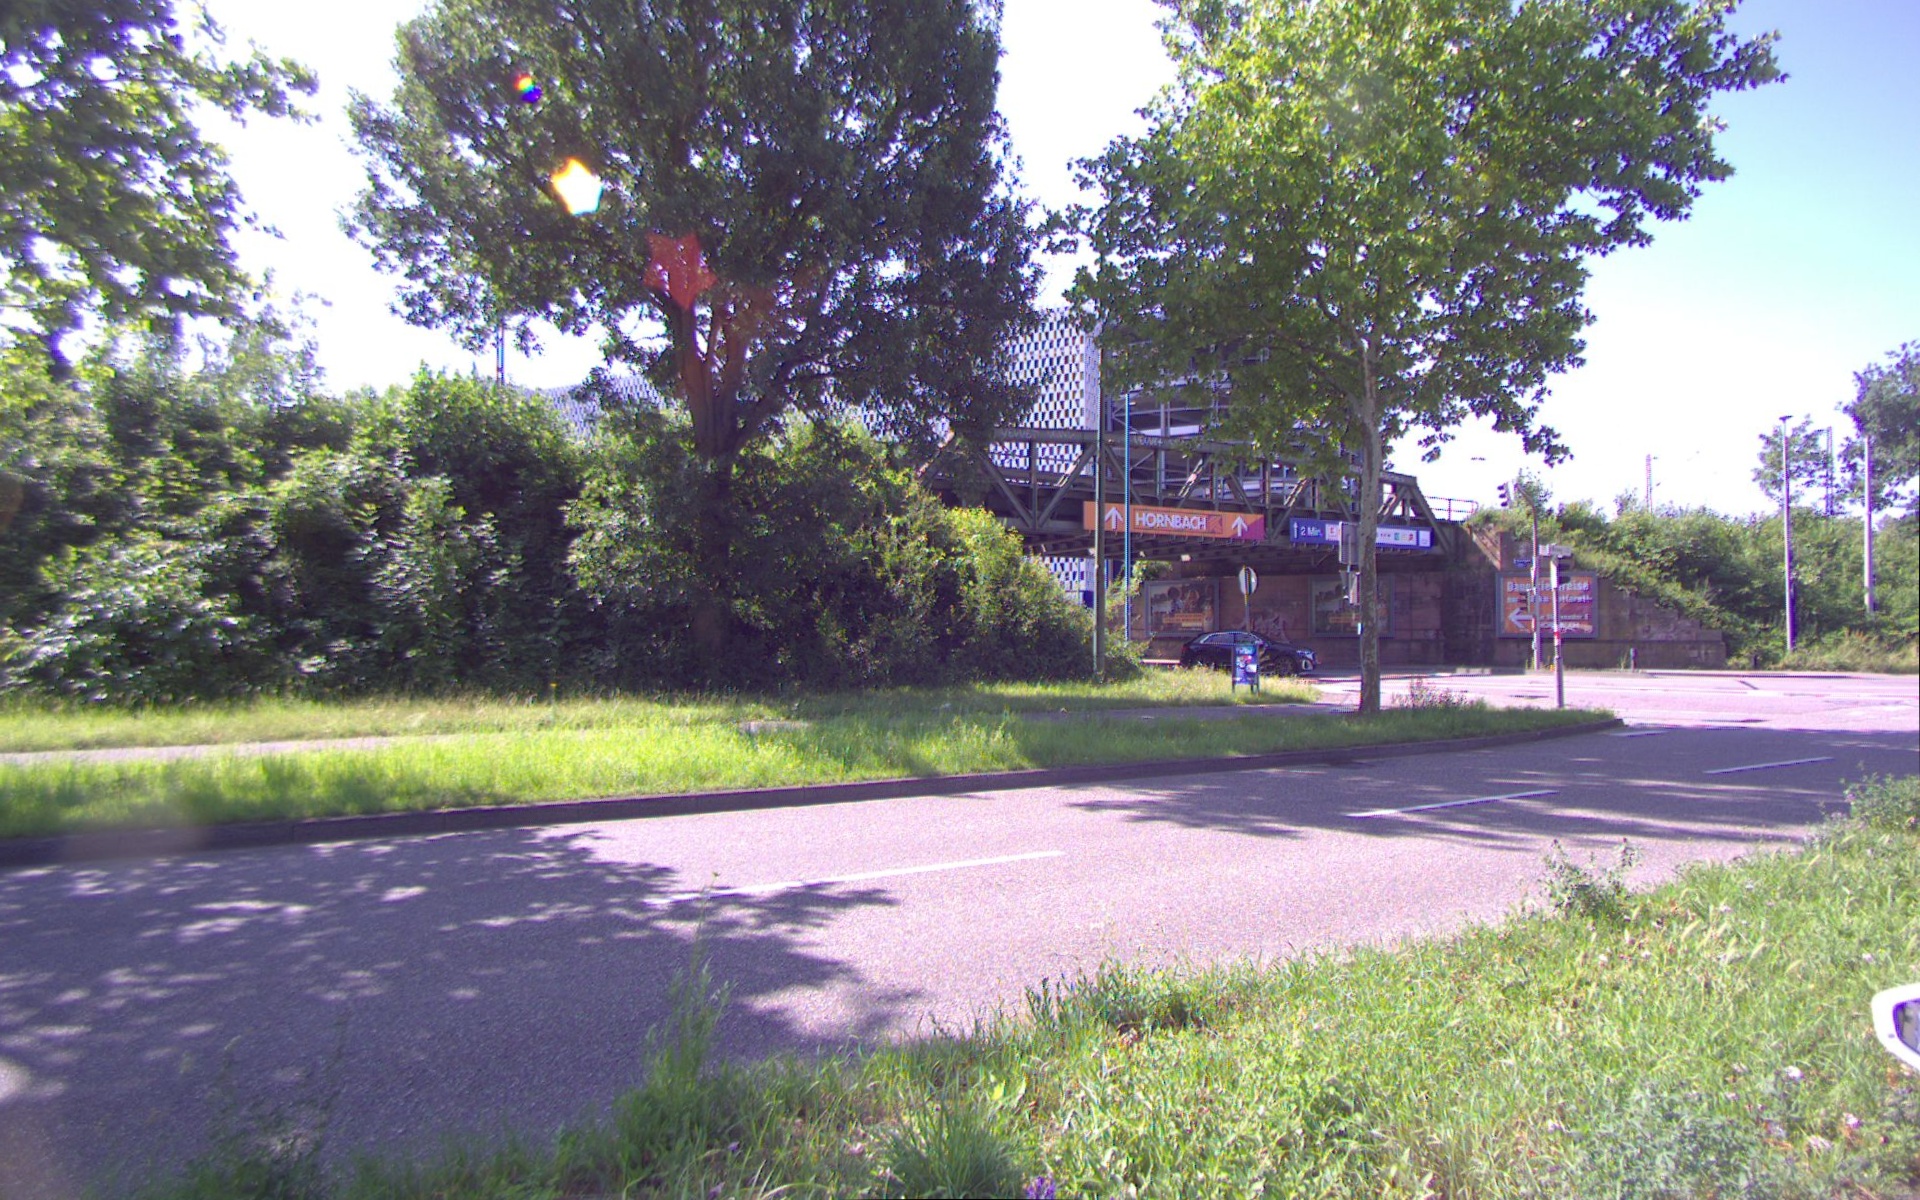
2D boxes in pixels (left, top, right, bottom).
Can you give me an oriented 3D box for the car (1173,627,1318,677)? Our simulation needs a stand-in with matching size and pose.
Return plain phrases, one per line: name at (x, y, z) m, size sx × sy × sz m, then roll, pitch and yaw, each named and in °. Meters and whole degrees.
car at (10.452, 1.878, 36.839) m, size 4.957 × 1.617 × 1.526 m, roll 1°, pitch -1°, yaw 24°
